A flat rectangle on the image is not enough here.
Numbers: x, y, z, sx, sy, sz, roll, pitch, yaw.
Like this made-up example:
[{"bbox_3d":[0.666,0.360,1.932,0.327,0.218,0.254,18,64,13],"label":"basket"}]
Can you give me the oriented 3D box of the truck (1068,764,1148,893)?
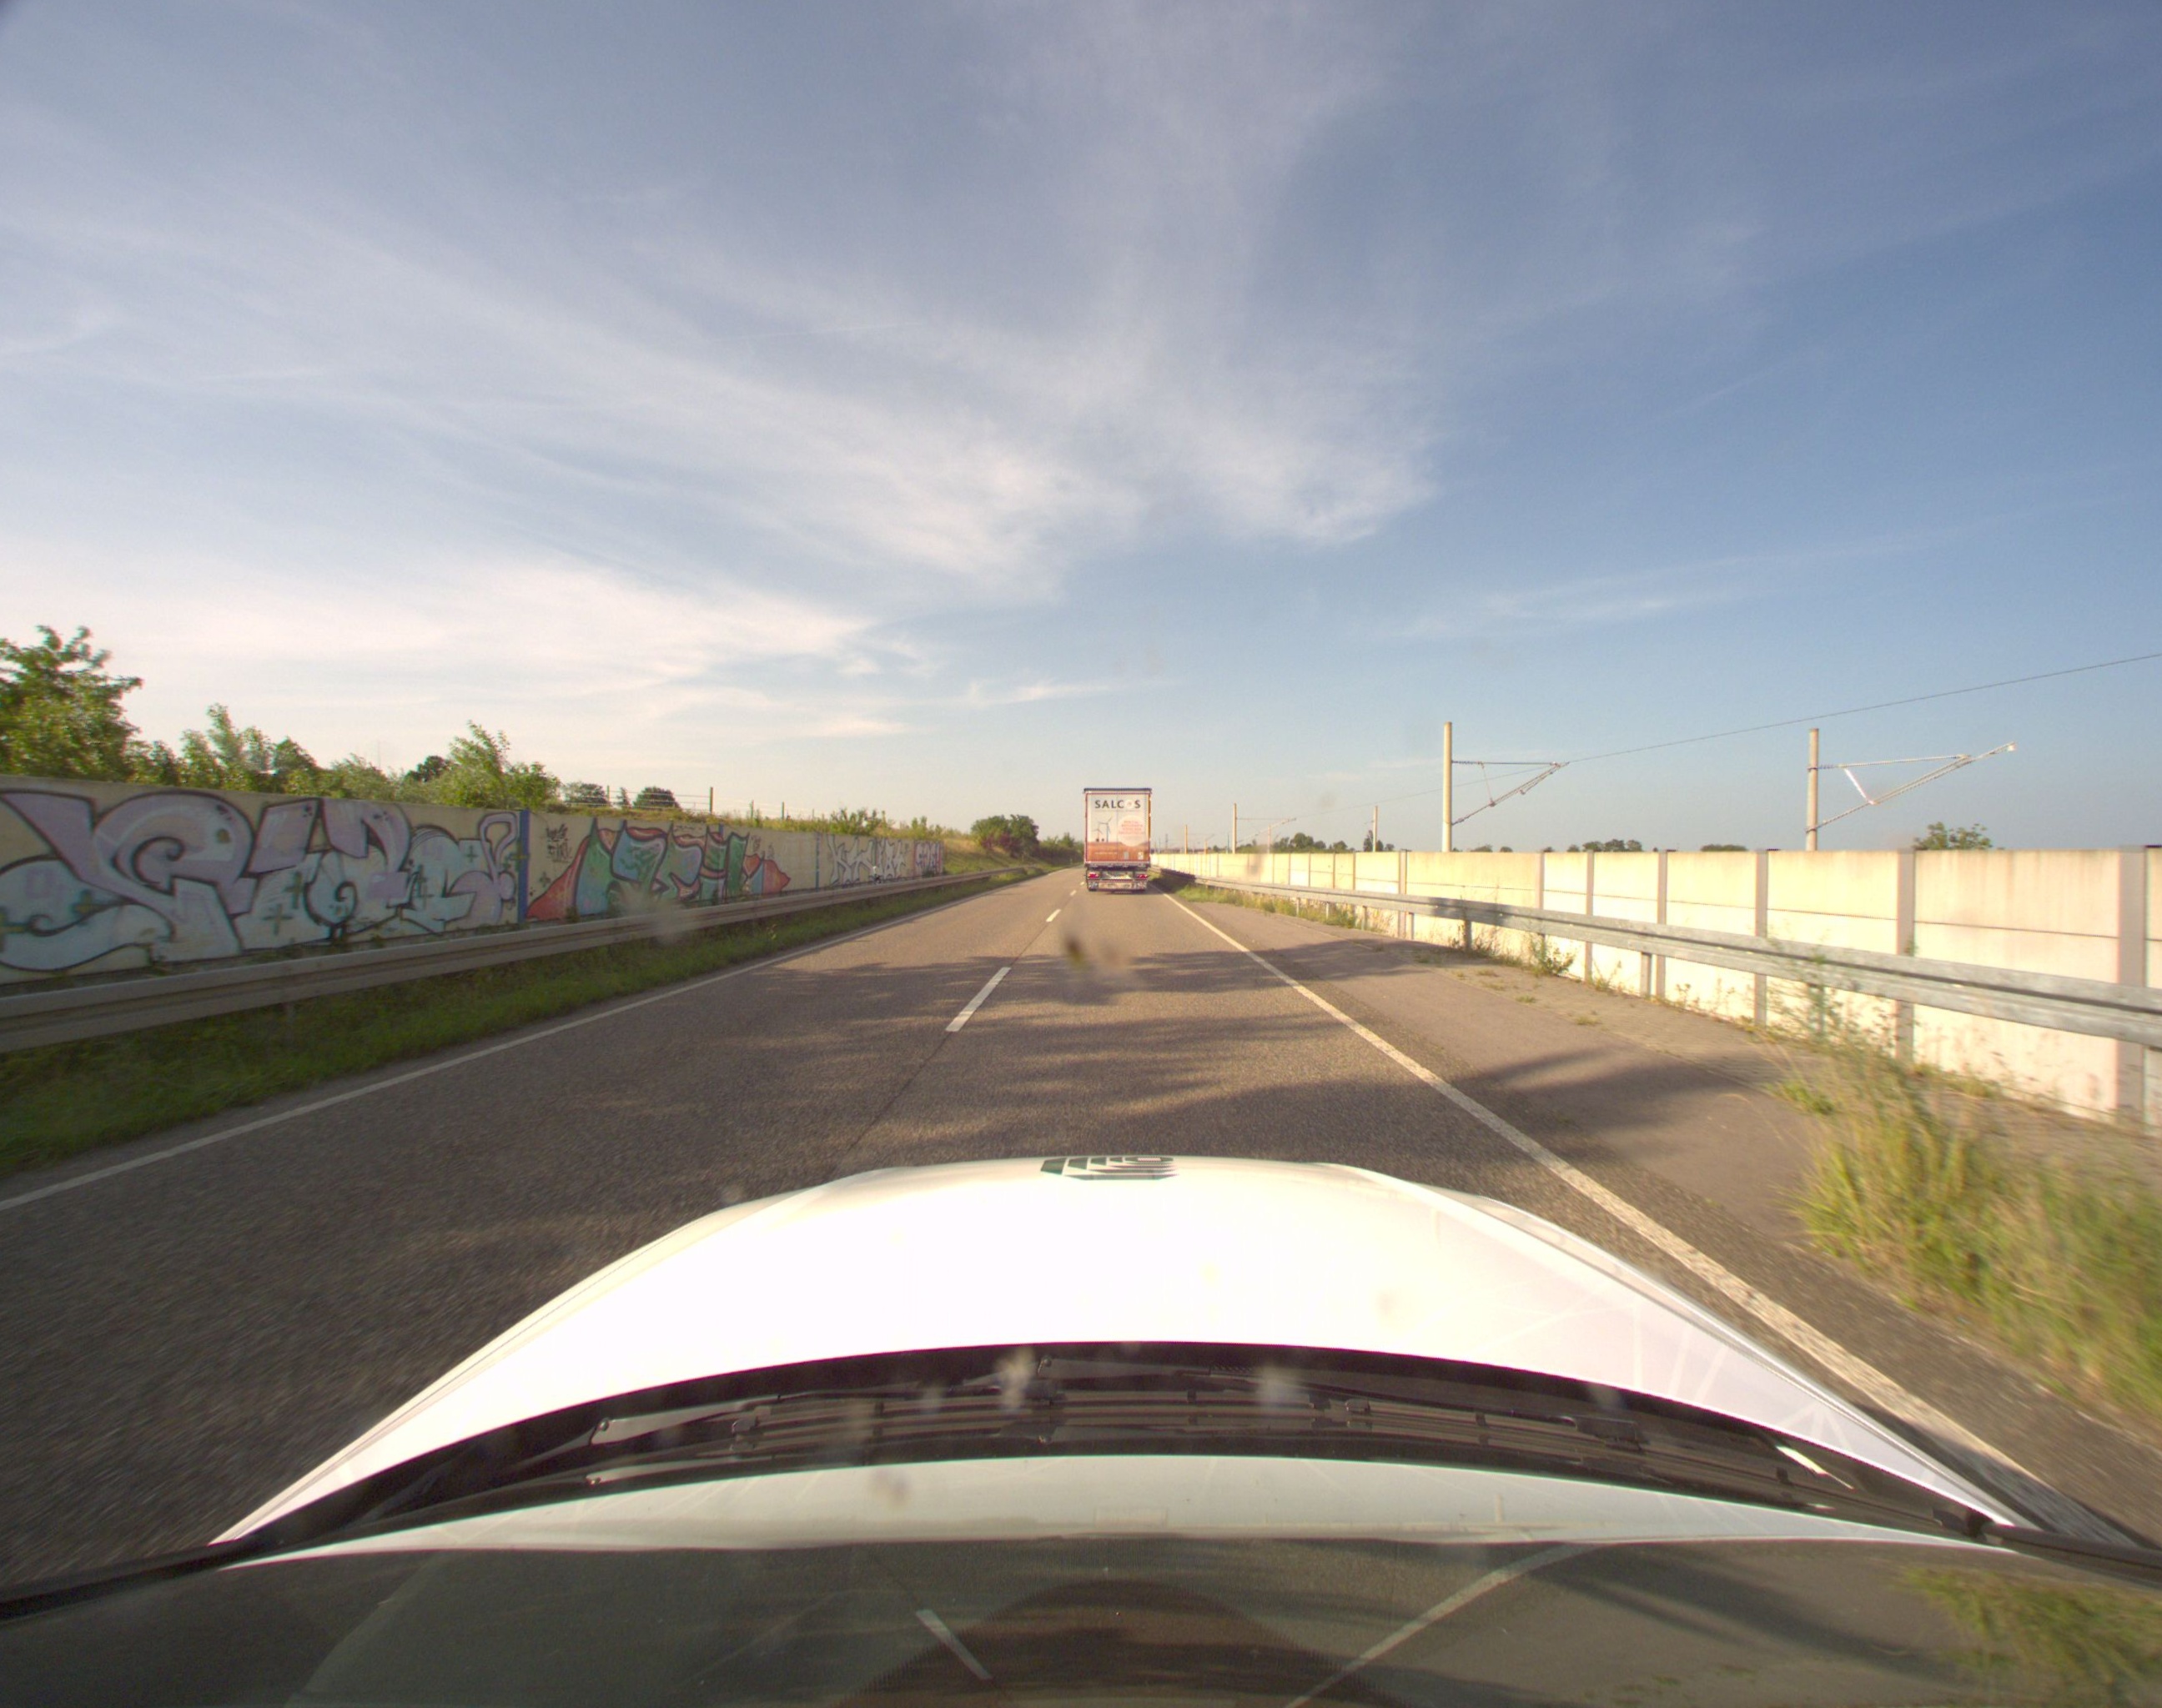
[{"bbox_3d":[1.223,-0.998,37.037,3.021,4.920,11.689,-1,0,2],"label":"truck"}]
